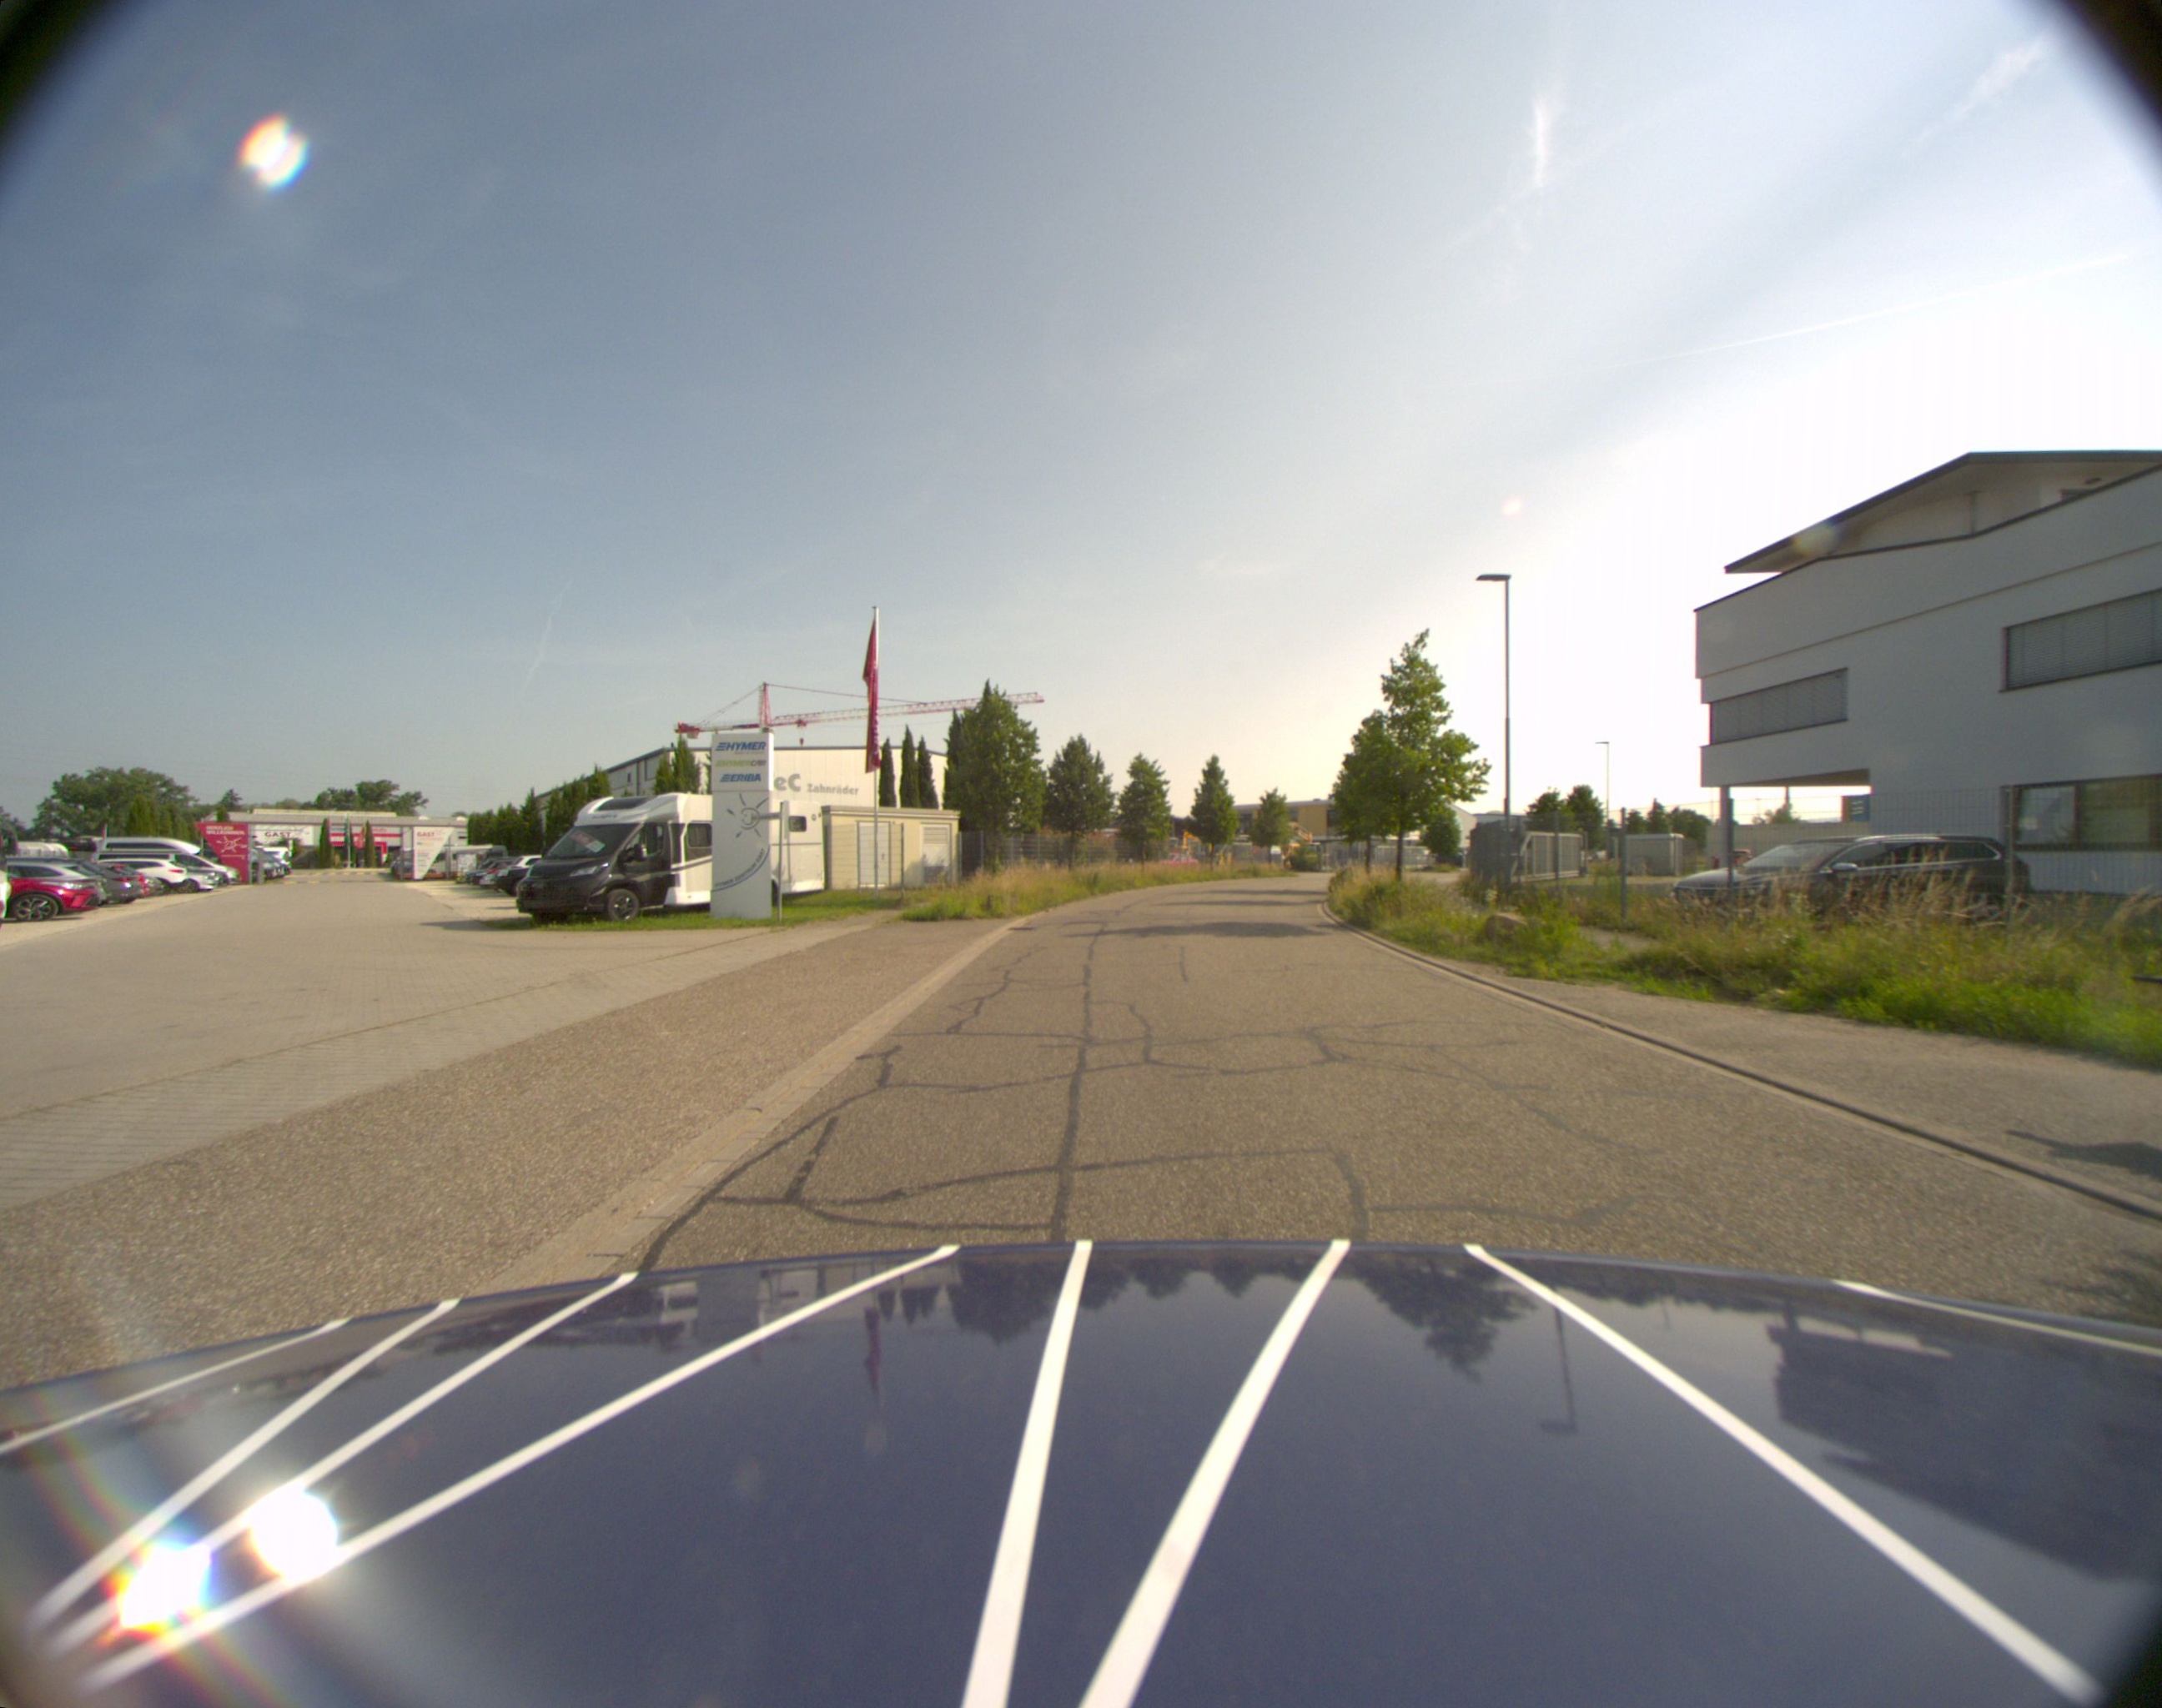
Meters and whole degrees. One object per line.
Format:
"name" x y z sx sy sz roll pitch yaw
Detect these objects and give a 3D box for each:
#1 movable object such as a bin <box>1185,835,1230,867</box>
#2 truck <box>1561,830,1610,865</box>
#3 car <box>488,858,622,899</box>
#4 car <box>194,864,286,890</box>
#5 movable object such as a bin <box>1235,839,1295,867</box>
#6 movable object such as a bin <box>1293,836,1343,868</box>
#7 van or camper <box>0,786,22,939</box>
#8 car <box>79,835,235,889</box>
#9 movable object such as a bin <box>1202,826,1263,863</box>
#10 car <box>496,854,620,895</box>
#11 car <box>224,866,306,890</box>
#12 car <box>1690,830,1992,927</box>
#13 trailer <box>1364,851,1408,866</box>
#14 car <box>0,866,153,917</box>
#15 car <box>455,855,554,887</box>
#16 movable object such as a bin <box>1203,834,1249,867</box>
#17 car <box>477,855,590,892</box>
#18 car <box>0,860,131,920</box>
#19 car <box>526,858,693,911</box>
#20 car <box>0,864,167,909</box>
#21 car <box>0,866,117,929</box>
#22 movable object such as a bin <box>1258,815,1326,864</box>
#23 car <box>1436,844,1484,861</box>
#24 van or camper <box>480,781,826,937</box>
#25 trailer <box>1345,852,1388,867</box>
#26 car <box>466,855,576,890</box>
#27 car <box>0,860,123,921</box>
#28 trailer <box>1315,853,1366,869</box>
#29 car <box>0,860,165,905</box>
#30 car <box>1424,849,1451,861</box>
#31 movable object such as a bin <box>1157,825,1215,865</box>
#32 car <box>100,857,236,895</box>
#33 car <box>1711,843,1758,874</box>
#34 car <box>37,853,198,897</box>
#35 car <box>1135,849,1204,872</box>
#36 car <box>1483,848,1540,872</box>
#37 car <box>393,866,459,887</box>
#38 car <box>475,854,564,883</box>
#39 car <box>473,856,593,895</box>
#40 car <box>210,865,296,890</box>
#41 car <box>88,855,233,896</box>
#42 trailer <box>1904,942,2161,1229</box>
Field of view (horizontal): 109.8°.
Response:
"movable object such as a bin" 12.460 -0.313 74.639 4.382 3.014 1.993 -1 1 -42
"truck" 62.400 -0.817 93.837 9.706 3.993 2.746 0 2 -43
"car" -20.476 0.916 29.681 1.710 1.471 4.009 1 0 41
"car" -57.162 1.562 51.747 3.953 1.658 1.539 -1 -1 -39
"movable object such as a bin" 17.093 -0.132 70.379 5.350 2.477 2.923 -1 1 -42
"movable object such as a bin" 21.097 -0.184 67.513 5.170 2.736 1.887 -1 1 -42
"van or camper" -21.102 0.150 13.072 7.261 3.014 2.590 -1 1 41
"car" -46.493 0.384 38.422 4.708 2.584 1.711 -1 1 -38
"movable object such as a bin" 16.630 -1.028 82.937 7.223 3.906 2.919 0 1 -44
"car" -22.063 0.823 32.158 1.710 1.607 4.009 1 0 41
"car" -60.779 1.768 56.688 3.953 1.658 1.539 -1 -1 -39
"car" 12.692 0.391 12.838 3.501 1.445 1.596 -2 0 -1
"trailer" 28.836 0.398 71.710 4.572 1.303 1.994 -2 1 -42
"car" -32.138 1.161 23.655 3.954 1.451 1.538 -1 -1 -44
"car" -31.124 0.890 41.111 1.710 1.607 4.009 1 0 41
"movable object such as a bin" 13.881 -0.343 72.780 4.501 3.014 1.993 -1 1 -42
"car" -25.542 0.889 35.535 1.710 1.607 4.009 1 0 41
"car" -30.330 1.061 21.597 3.953 1.582 1.711 -2 -1 -45
"car" -14.308 0.866 23.232 1.710 1.471 4.009 1 0 41
"car" -33.919 1.084 25.533 1.538 1.364 3.954 -3 -1 44
"car" -26.160 1.084 17.997 1.711 1.408 4.008 -3 -1 41
"movable object such as a bin" 21.569 -1.401 77.458 7.689 4.778 3.317 0 0 -44
"car" 39.952 -0.152 80.182 4.226 1.727 1.903 -1 0 40
"van or camper" -9.195 0.014 17.637 2.352 2.832 7.349 -1 2 16
"trailer" 25.621 0.480 68.218 4.303 1.236 1.945 -1 0 -44
"car" -27.224 0.871 37.022 1.710 1.607 4.009 1 0 41
"car" -28.315 1.006 19.782 1.711 1.487 4.008 -3 0 44
"trailer" 22.104 0.581 64.563 4.805 1.236 2.127 -1 0 -44
"car" -38.529 1.082 29.309 1.538 1.548 3.954 -3 -1 44
"car" 46.138 0.095 98.344 1.890 1.547 4.380 -1 0 42
"movable object such as a bin" 10.647 -0.894 76.899 5.730 3.851 2.685 -1 1 -42
"car" -42.928 1.011 35.866 3.954 1.659 1.538 -1 -1 -44
"car" 33.979 0.258 39.458 1.771 1.516 4.314 0 -1 42
"car" -39.881 0.858 31.606 3.954 1.659 1.538 -1 -1 -44
"car" 5.725 0.389 48.911 1.881 1.350 4.783 0 0 44
"car" 29.065 0.386 51.278 4.441 1.458 1.995 -1 -1 -42
"car" -54.568 1.843 63.345 1.710 1.607 4.009 1 0 41
"car" -33.568 0.855 45.472 1.710 1.607 4.009 1 0 41
"car" -24.052 0.916 33.449 1.710 1.607 4.009 1 0 41
"car" -59.485 1.689 54.671 3.953 1.658 1.539 -1 -1 -39
"car" -41.066 0.947 34.043 3.954 1.659 1.538 -1 -1 -44
"trailer" 5.955 1.060 1.740 2.580 1.093 5.201 -2 0 2
